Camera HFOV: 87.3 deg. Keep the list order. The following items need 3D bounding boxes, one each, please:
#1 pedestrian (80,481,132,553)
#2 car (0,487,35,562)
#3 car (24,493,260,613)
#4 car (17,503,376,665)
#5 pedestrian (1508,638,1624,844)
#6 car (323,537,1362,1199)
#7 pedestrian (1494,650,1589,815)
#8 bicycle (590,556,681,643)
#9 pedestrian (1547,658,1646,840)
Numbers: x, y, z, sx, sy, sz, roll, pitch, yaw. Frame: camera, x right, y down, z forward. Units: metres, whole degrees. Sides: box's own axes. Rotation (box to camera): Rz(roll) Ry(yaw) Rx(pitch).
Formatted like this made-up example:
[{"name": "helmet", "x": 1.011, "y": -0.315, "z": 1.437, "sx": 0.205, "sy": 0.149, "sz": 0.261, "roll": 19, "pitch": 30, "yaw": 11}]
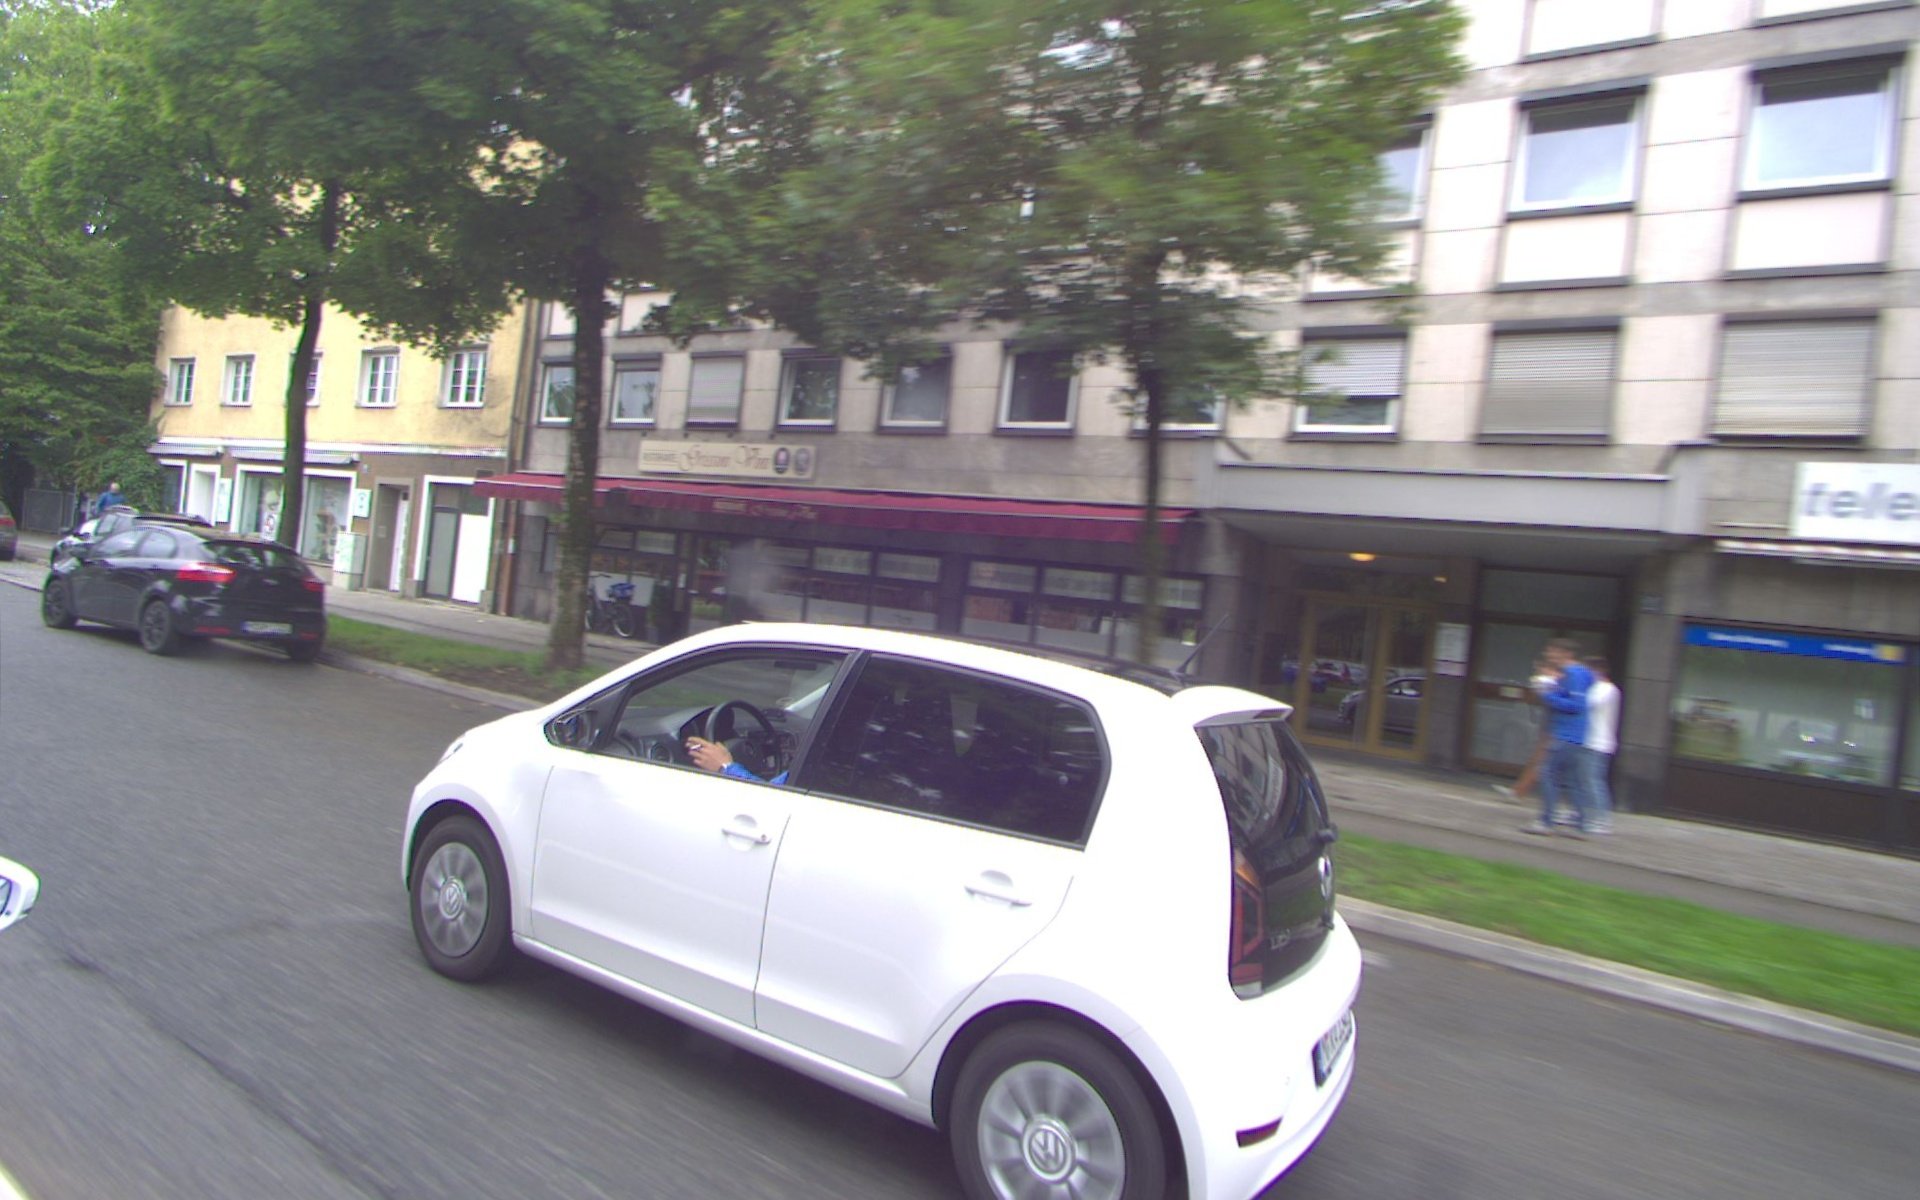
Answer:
[{"name": "pedestrian", "x": -23.802, "y": -2.302, "z": 28.051, "sx": 0.763, "sy": 1.880, "sz": 0.793, "roll": 7, "pitch": 2, "yaw": 29}, {"name": "car", "x": -23.710, "y": -1.952, "z": 23.643, "sx": 4.237, "sy": 1.646, "sz": 1.816, "roll": 7, "pitch": 1, "yaw": 33}, {"name": "car", "x": -15.102, "y": -0.881, "z": 18.527, "sx": 4.261, "sy": 1.662, "sz": 1.996, "roll": 7, "pitch": -1, "yaw": 32}, {"name": "car", "x": -9.495, "y": -0.204, "z": 12.497, "sx": 3.931, "sy": 1.469, "sz": 1.998, "roll": 7, "pitch": -1, "yaw": 28}, {"name": "pedestrian", "x": 5.583, "y": 1.276, "z": 9.294, "sx": 0.720, "sy": 1.754, "sz": 0.500, "roll": 7, "pitch": 0, "yaw": 32}, {"name": "car", "x": -0.498, "y": 0.763, "z": 3.757, "sx": 3.377, "sy": 1.507, "sz": 1.691, "roll": 7, "pitch": -2, "yaw": 30}, {"name": "pedestrian", "x": 6.354, "y": 1.423, "z": 10.998, "sx": 0.712, "sy": 1.660, "sz": 0.542, "roll": 7, "pitch": 0, "yaw": 32}, {"name": "bicycle", "x": -6.246, "y": -0.018, "z": 19.320, "sx": 1.660, "sy": 1.481, "sz": 0.580, "roll": 7, "pitch": 0, "yaw": 32}, {"name": "pedestrian", "x": 6.217, "y": 1.429, "z": 9.858, "sx": 0.630, "sy": 1.650, "sz": 0.549, "roll": 7, "pitch": 2, "yaw": 31}]
